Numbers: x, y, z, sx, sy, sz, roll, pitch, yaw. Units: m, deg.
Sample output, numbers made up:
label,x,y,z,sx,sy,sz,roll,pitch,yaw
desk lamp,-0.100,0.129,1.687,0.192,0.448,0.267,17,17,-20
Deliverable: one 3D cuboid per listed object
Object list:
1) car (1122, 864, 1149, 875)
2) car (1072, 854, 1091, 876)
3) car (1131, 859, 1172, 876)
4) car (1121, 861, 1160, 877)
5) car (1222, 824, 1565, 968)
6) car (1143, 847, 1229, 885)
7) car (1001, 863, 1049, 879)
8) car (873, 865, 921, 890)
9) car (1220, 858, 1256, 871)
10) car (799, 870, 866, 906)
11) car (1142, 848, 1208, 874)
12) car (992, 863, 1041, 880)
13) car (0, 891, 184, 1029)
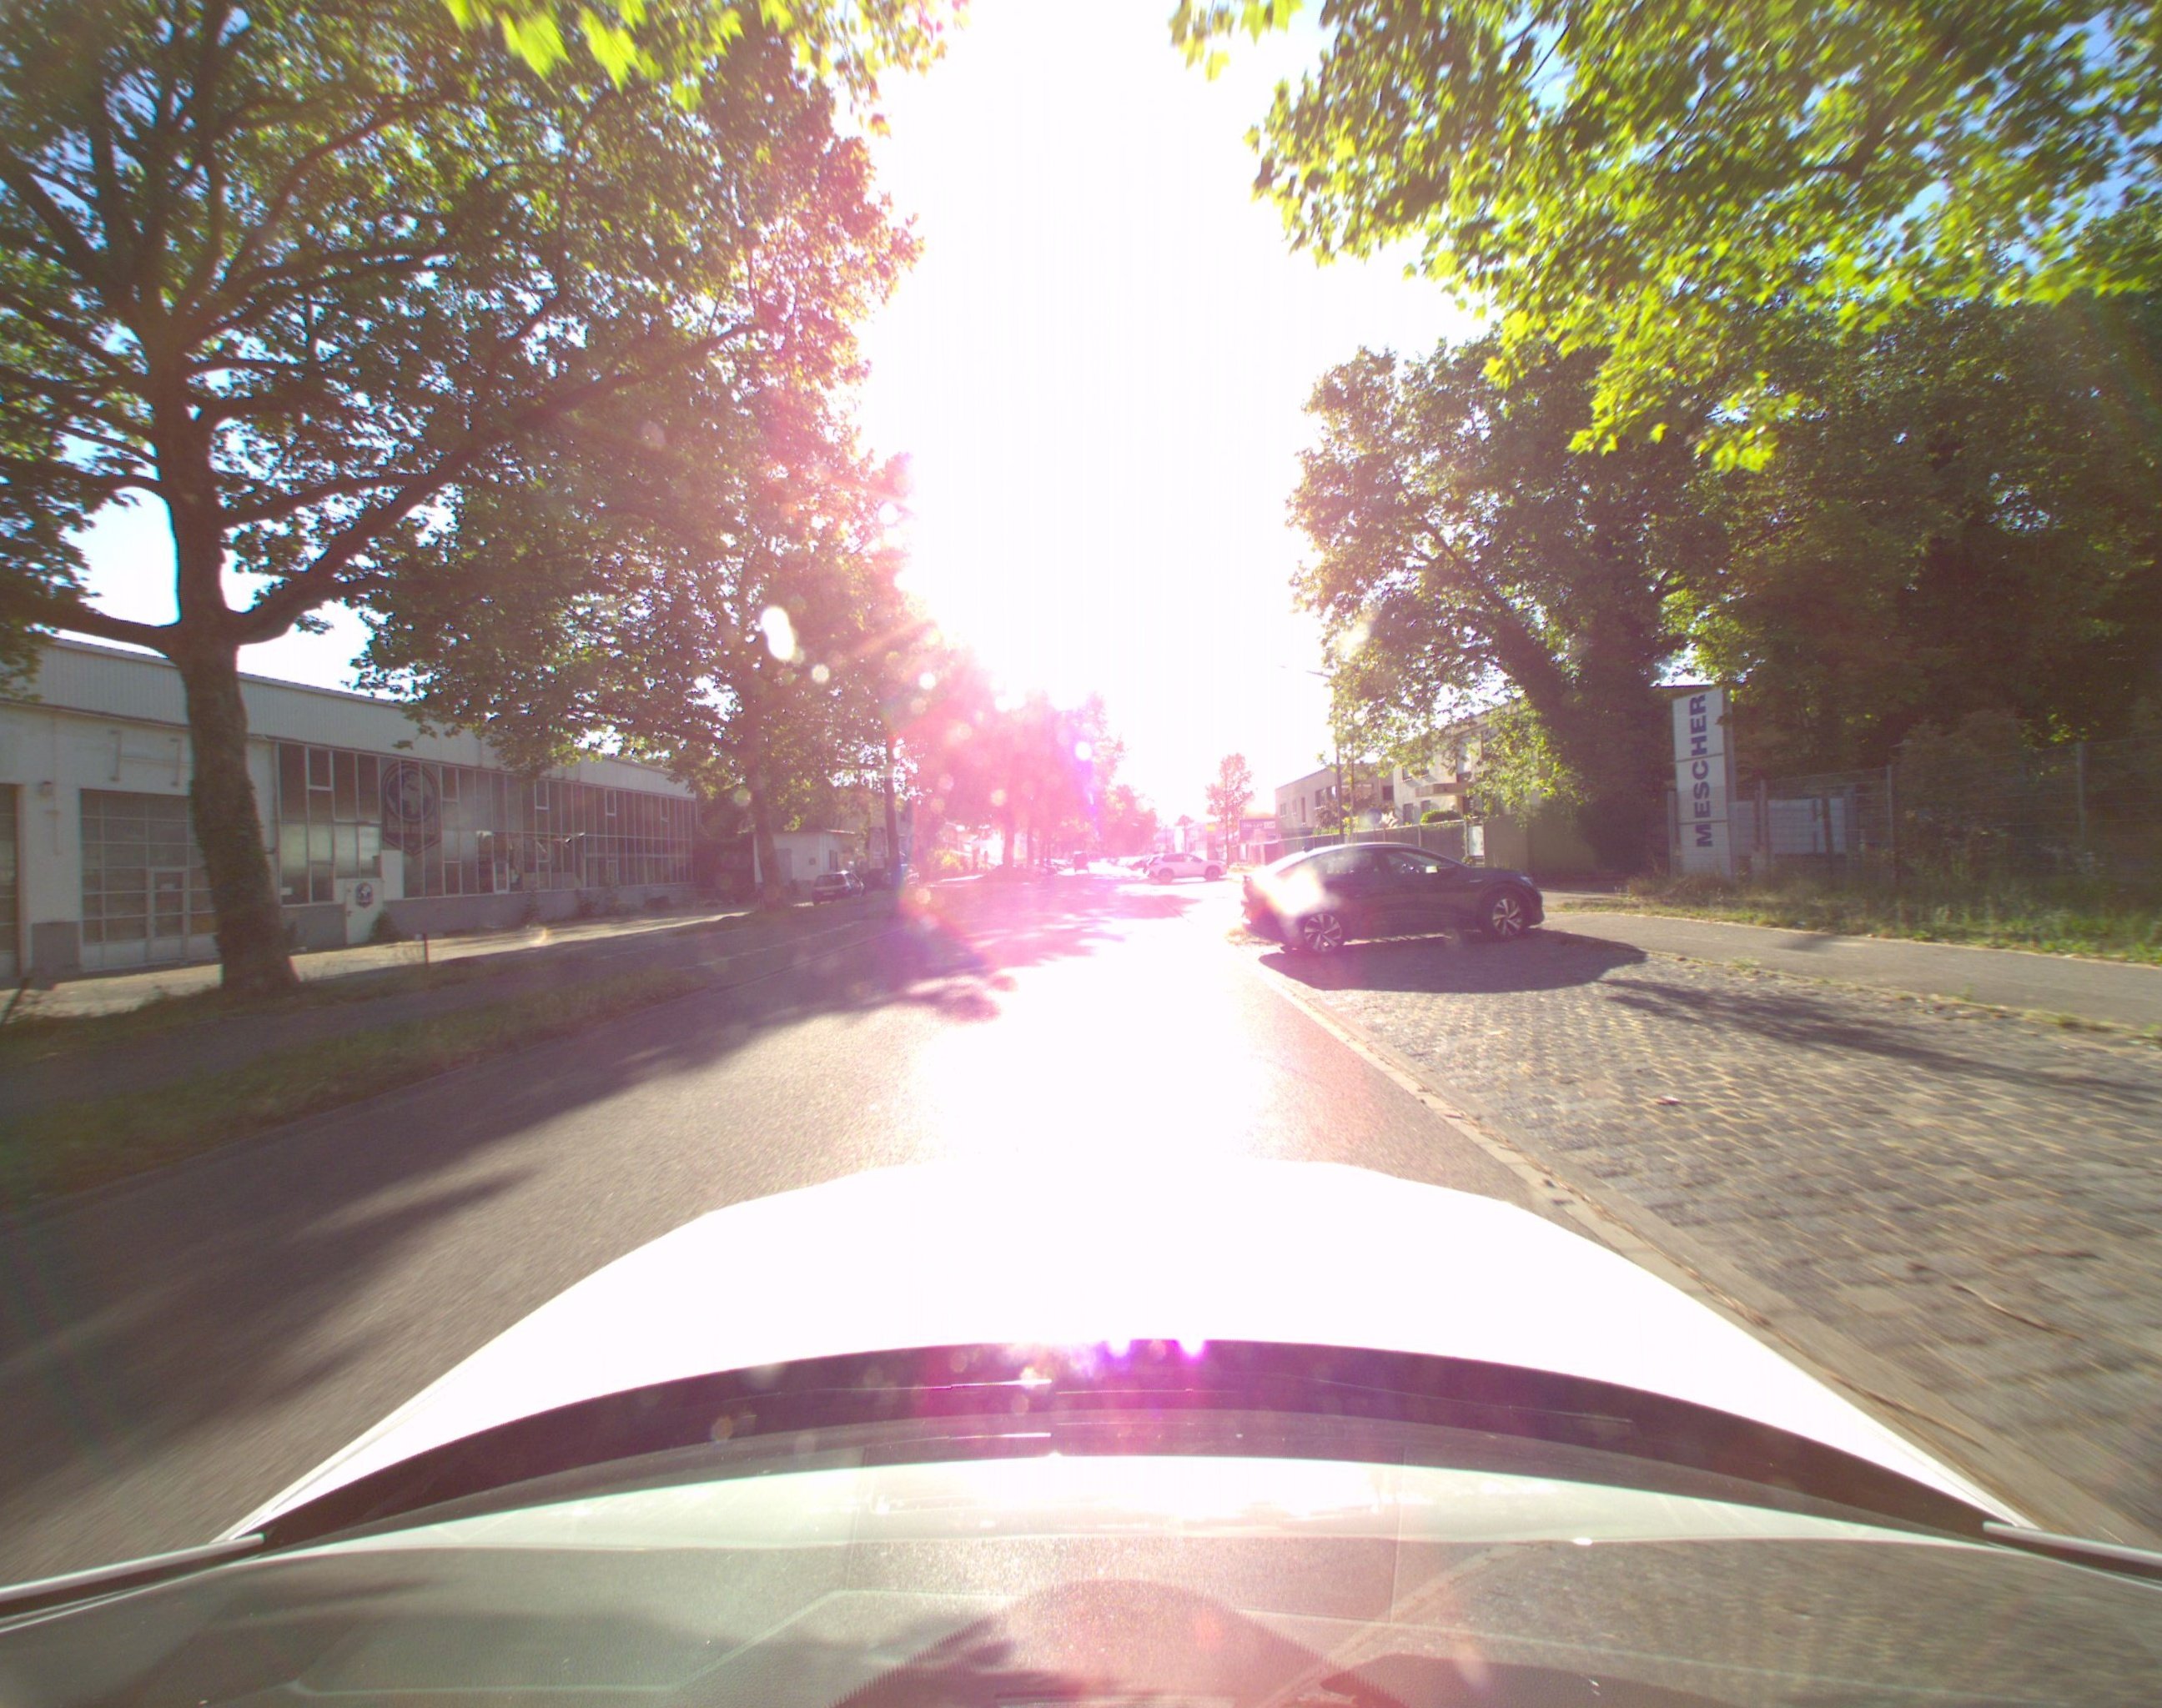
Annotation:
label,x,y,z,sx,sy,sz,roll,pitch,yaw
car,8.682,2.482,130.171,3.977,1.588,1.866,-4,-1,-3
car,0.124,1.332,104.371,2.120,2.659,7.003,-3,0,1
car,8.274,1.615,95.940,4.581,1.580,2.002,-5,-1,3
car,7.274,1.830,100.625,4.585,1.613,2.000,-5,-1,0
car,4.743,0.618,12.848,4.558,1.715,1.941,-5,-1,-3
car,6.058,0.699,47.375,4.611,1.712,1.999,-5,-1,-1
car,-5.592,1.680,81.574,4.584,1.422,2.000,-2,0,0
car,-12.046,1.505,53.633,1.985,1.576,4.276,-1,-1,3
car,18.896,1.233,98.129,3.978,1.519,1.951,-1,-1,-3
car,-11.688,1.558,38.511,1.989,1.370,3.916,-6,-1,-3
car,7.025,0.538,61.345,4.611,1.526,1.999,-5,-1,-1
car,-5.978,1.633,75.668,4.341,1.422,1.999,-2,0,-1
car,-12.422,1.155,8.057,4.508,1.306,1.976,-2,0,-40
